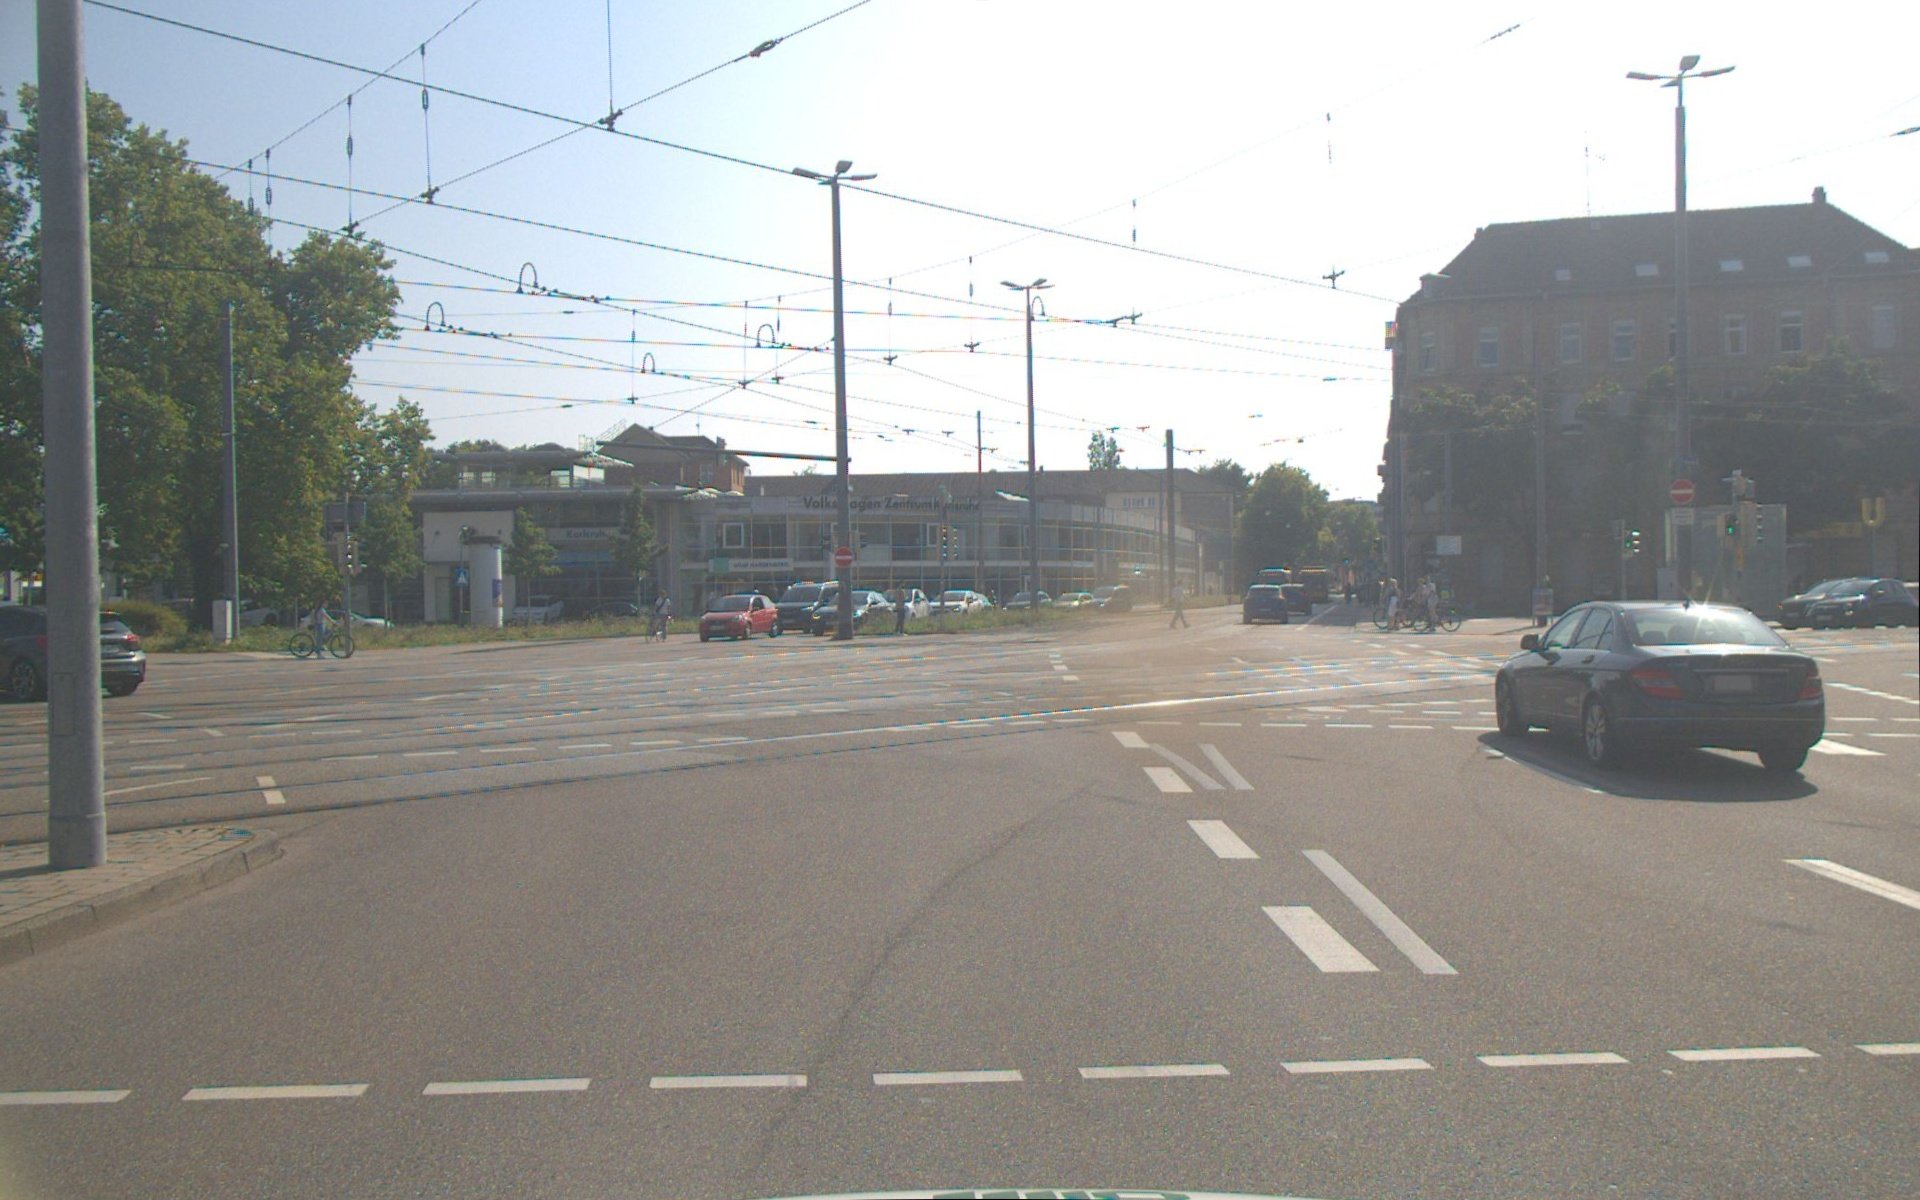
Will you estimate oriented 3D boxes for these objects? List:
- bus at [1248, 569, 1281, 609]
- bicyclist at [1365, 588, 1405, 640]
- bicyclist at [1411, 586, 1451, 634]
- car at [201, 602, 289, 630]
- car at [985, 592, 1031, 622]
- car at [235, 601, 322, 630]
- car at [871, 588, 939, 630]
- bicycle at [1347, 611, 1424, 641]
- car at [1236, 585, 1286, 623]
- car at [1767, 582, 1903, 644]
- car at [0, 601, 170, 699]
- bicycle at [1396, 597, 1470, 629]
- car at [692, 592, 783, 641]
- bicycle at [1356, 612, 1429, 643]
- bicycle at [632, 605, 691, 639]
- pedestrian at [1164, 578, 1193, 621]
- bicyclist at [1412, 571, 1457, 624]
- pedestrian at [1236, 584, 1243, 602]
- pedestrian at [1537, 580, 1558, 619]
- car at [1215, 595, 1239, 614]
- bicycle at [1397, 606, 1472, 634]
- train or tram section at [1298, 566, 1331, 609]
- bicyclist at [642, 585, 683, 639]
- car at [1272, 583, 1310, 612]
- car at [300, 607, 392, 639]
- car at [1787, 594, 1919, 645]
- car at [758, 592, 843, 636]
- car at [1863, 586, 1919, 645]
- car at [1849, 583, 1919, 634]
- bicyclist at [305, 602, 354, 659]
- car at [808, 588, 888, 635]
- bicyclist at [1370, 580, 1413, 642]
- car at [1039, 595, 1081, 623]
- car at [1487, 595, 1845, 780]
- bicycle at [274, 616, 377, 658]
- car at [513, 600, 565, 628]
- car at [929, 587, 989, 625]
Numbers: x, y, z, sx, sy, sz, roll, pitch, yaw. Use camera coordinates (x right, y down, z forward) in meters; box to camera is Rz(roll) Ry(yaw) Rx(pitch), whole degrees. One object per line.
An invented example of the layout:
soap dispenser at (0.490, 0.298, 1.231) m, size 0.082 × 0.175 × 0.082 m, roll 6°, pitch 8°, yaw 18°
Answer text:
bus at (29.527, -1.027, 160.738) m, size 2.858 × 3.682 × 16.760 m, roll -1°, pitch 0°, yaw 10°
bicyclist at (15.130, 0.487, 58.890) m, size 0.922 × 1.831 × 1.084 m, roll -1°, pitch 0°, yaw -25°
bicyclist at (17.202, 0.356, 60.441) m, size 0.922 × 1.709 × 1.084 m, roll -1°, pitch 0°, yaw -25°
car at (-40.855, 0.890, 94.579) m, size 1.668 × 1.549 × 4.506 m, roll -1°, pitch 0°, yaw 30°
car at (2.587, 0.358, 88.055) m, size 1.580 × 1.501 × 4.003 m, roll -3°, pitch -1°, yaw 14°
car at (-38.669, 0.860, 93.960) m, size 1.668 × 1.549 × 4.506 m, roll -1°, pitch 0°, yaw 30°
car at (-2.080, 0.320, 63.673) m, size 1.580 × 1.501 × 4.003 m, roll -3°, pitch -1°, yaw 13°
bicycle at (15.149, 0.916, 58.900) m, size 2.585 × 0.981 × 1.084 m, roll -1°, pitch 0°, yaw -26°
car at (12.488, 0.139, 68.523) m, size 1.786 × 1.453 × 4.416 m, roll -1°, pitch 0°, yaw 13°
car at (27.916, 0.390, 52.771) m, size 4.191 × 1.891 × 1.891 m, roll -1°, pitch 0°, yaw -30°
car at (-14.964, 0.764, 26.638) m, size 4.449 × 1.460 × 1.835 m, roll -1°, pitch 0°, yaw 29°
bicycle at (15.698, 0.422, 54.910) m, size 2.601 × 0.981 × 1.078 m, roll -1°, pitch 0°, yaw -39°
car at (-7.350, 0.528, 55.019) m, size 1.580 × 1.501 × 4.003 m, roll -3°, pitch -1°, yaw 13°
bicycle at (14.816, 0.924, 56.615) m, size 2.601 × 0.981 × 1.078 m, roll -1°, pitch 0°, yaw -39°
bicycle at (-9.943, 0.731, 55.208) m, size 0.937 × 1.075 × 2.610 m, roll -1°, pitch 0°, yaw 14°
pedestrian at (7.982, -0.028, 60.380) m, size 0.768 × 1.529 × 0.704 m, roll -1°, pitch 0°, yaw -26°
bicyclist at (15.781, -0.098, 54.991) m, size 0.928 × 1.738 × 1.078 m, roll -1°, pitch 0°, yaw -39°
pedestrian at (25.511, -0.651, 150.817) m, size 0.582 × 1.659 × 0.637 m, roll -1°, pitch 0°, yaw 15°
pedestrian at (23.069, -0.018, 64.954) m, size 0.537 × 1.496 × 0.663 m, roll -1°, pitch 0°, yaw 44°
car at (22.225, 0.348, 137.738) m, size 1.580 × 1.501 × 4.003 m, roll -3°, pitch -1°, yaw 14°
bicycle at (17.377, 0.727, 60.531) m, size 2.585 × 0.981 × 1.084 m, roll -1°, pitch 0°, yaw -26°
train or tram section at (32.619, -1.193, 152.429) m, size 2.598 × 3.763 × 10.599 m, roll -1°, pitch 0°, yaw 11°
bicyclist at (-9.940, 0.409, 55.228) m, size 0.937 × 1.779 × 1.167 m, roll -1°, pitch 0°, yaw 15°
car at (17.397, -0.161, 86.810) m, size 1.786 × 1.453 × 4.416 m, roll -1°, pitch 0°, yaw 13°
car at (-31.047, 1.136, 83.633) m, size 4.000 × 1.549 × 1.706 m, roll -1°, pitch 0°, yaw 3°
car at (26.515, 0.538, 48.479) m, size 4.326 × 1.421 × 2.004 m, roll -1°, pitch 0°, yaw -30°
car at (-5.932, 0.489, 61.896) m, size 1.919 × 1.501 × 4.003 m, roll -3°, pitch -1°, yaw 13°
car at (32.408, 0.493, 55.023) m, size 4.639 × 1.891 × 1.893 m, roll -1°, pitch 0°, yaw -28°
car at (36.003, 0.294, 62.569) m, size 4.199 × 1.891 × 1.919 m, roll -1°, pitch 0°, yaw -22°
bicyclist at (-17.432, 0.832, 45.766) m, size 1.143 × 1.554 × 0.957 m, roll 1°, pitch -1°, yaw -15°
car at (-3.846, 0.380, 57.400) m, size 1.580 × 1.501 × 4.003 m, roll -3°, pitch -1°, yaw 13°
bicyclist at (14.773, 0.371, 56.591) m, size 0.928 × 2.059 × 1.078 m, roll -1°, pitch 0°, yaw -39°
car at (5.768, 0.495, 95.048) m, size 1.580 × 1.501 × 4.003 m, roll -3°, pitch -1°, yaw 14°
car at (6.345, 0.692, 15.419) m, size 1.647 × 1.468 × 4.374 m, roll 0°, pitch 0°, yaw 3°
bicycle at (-17.517, 1.013, 45.738) m, size 2.557 × 1.075 × 0.957 m, roll -1°, pitch 0°, yaw -16°
car at (-23.813, 0.785, 93.643) m, size 1.664 × 1.549 × 4.101 m, roll -1°, pitch 0°, yaw 3°
car at (-0.010, 0.256, 70.595) m, size 1.580 × 1.501 × 4.003 m, roll -3°, pitch -1°, yaw 14°
